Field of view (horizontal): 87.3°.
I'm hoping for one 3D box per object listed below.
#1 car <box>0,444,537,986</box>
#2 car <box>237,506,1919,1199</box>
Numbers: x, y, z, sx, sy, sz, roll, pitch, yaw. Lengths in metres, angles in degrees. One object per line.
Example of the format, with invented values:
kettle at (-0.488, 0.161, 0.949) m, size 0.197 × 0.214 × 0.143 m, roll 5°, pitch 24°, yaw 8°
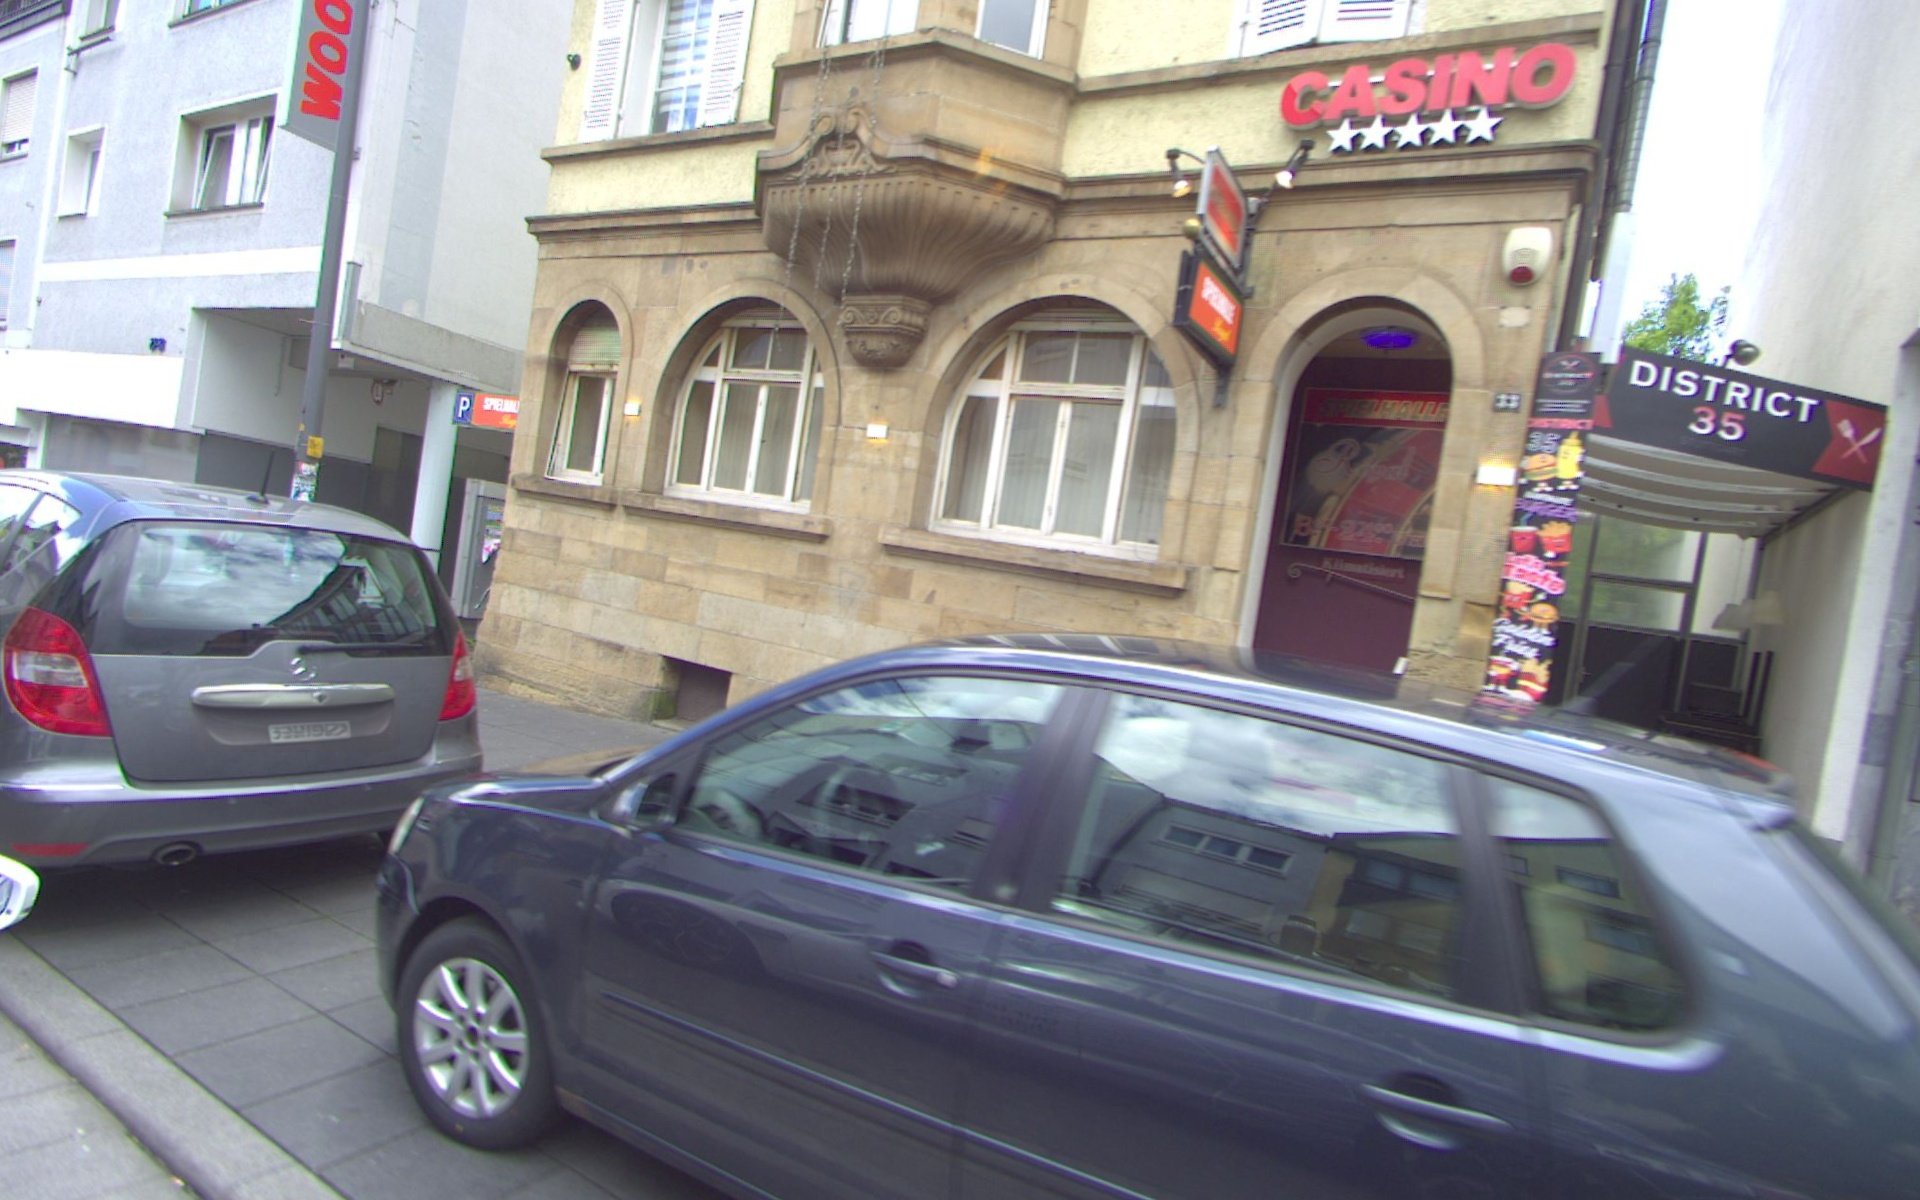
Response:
car at (-3.951, 0.224, 4.721) m, size 3.738 × 1.628 × 1.748 m, roll 7°, pitch 1°, yaw 33°
car at (0.047, 0.717, 2.743) m, size 3.808 × 1.528 × 1.750 m, roll 6°, pitch 1°, yaw 29°
